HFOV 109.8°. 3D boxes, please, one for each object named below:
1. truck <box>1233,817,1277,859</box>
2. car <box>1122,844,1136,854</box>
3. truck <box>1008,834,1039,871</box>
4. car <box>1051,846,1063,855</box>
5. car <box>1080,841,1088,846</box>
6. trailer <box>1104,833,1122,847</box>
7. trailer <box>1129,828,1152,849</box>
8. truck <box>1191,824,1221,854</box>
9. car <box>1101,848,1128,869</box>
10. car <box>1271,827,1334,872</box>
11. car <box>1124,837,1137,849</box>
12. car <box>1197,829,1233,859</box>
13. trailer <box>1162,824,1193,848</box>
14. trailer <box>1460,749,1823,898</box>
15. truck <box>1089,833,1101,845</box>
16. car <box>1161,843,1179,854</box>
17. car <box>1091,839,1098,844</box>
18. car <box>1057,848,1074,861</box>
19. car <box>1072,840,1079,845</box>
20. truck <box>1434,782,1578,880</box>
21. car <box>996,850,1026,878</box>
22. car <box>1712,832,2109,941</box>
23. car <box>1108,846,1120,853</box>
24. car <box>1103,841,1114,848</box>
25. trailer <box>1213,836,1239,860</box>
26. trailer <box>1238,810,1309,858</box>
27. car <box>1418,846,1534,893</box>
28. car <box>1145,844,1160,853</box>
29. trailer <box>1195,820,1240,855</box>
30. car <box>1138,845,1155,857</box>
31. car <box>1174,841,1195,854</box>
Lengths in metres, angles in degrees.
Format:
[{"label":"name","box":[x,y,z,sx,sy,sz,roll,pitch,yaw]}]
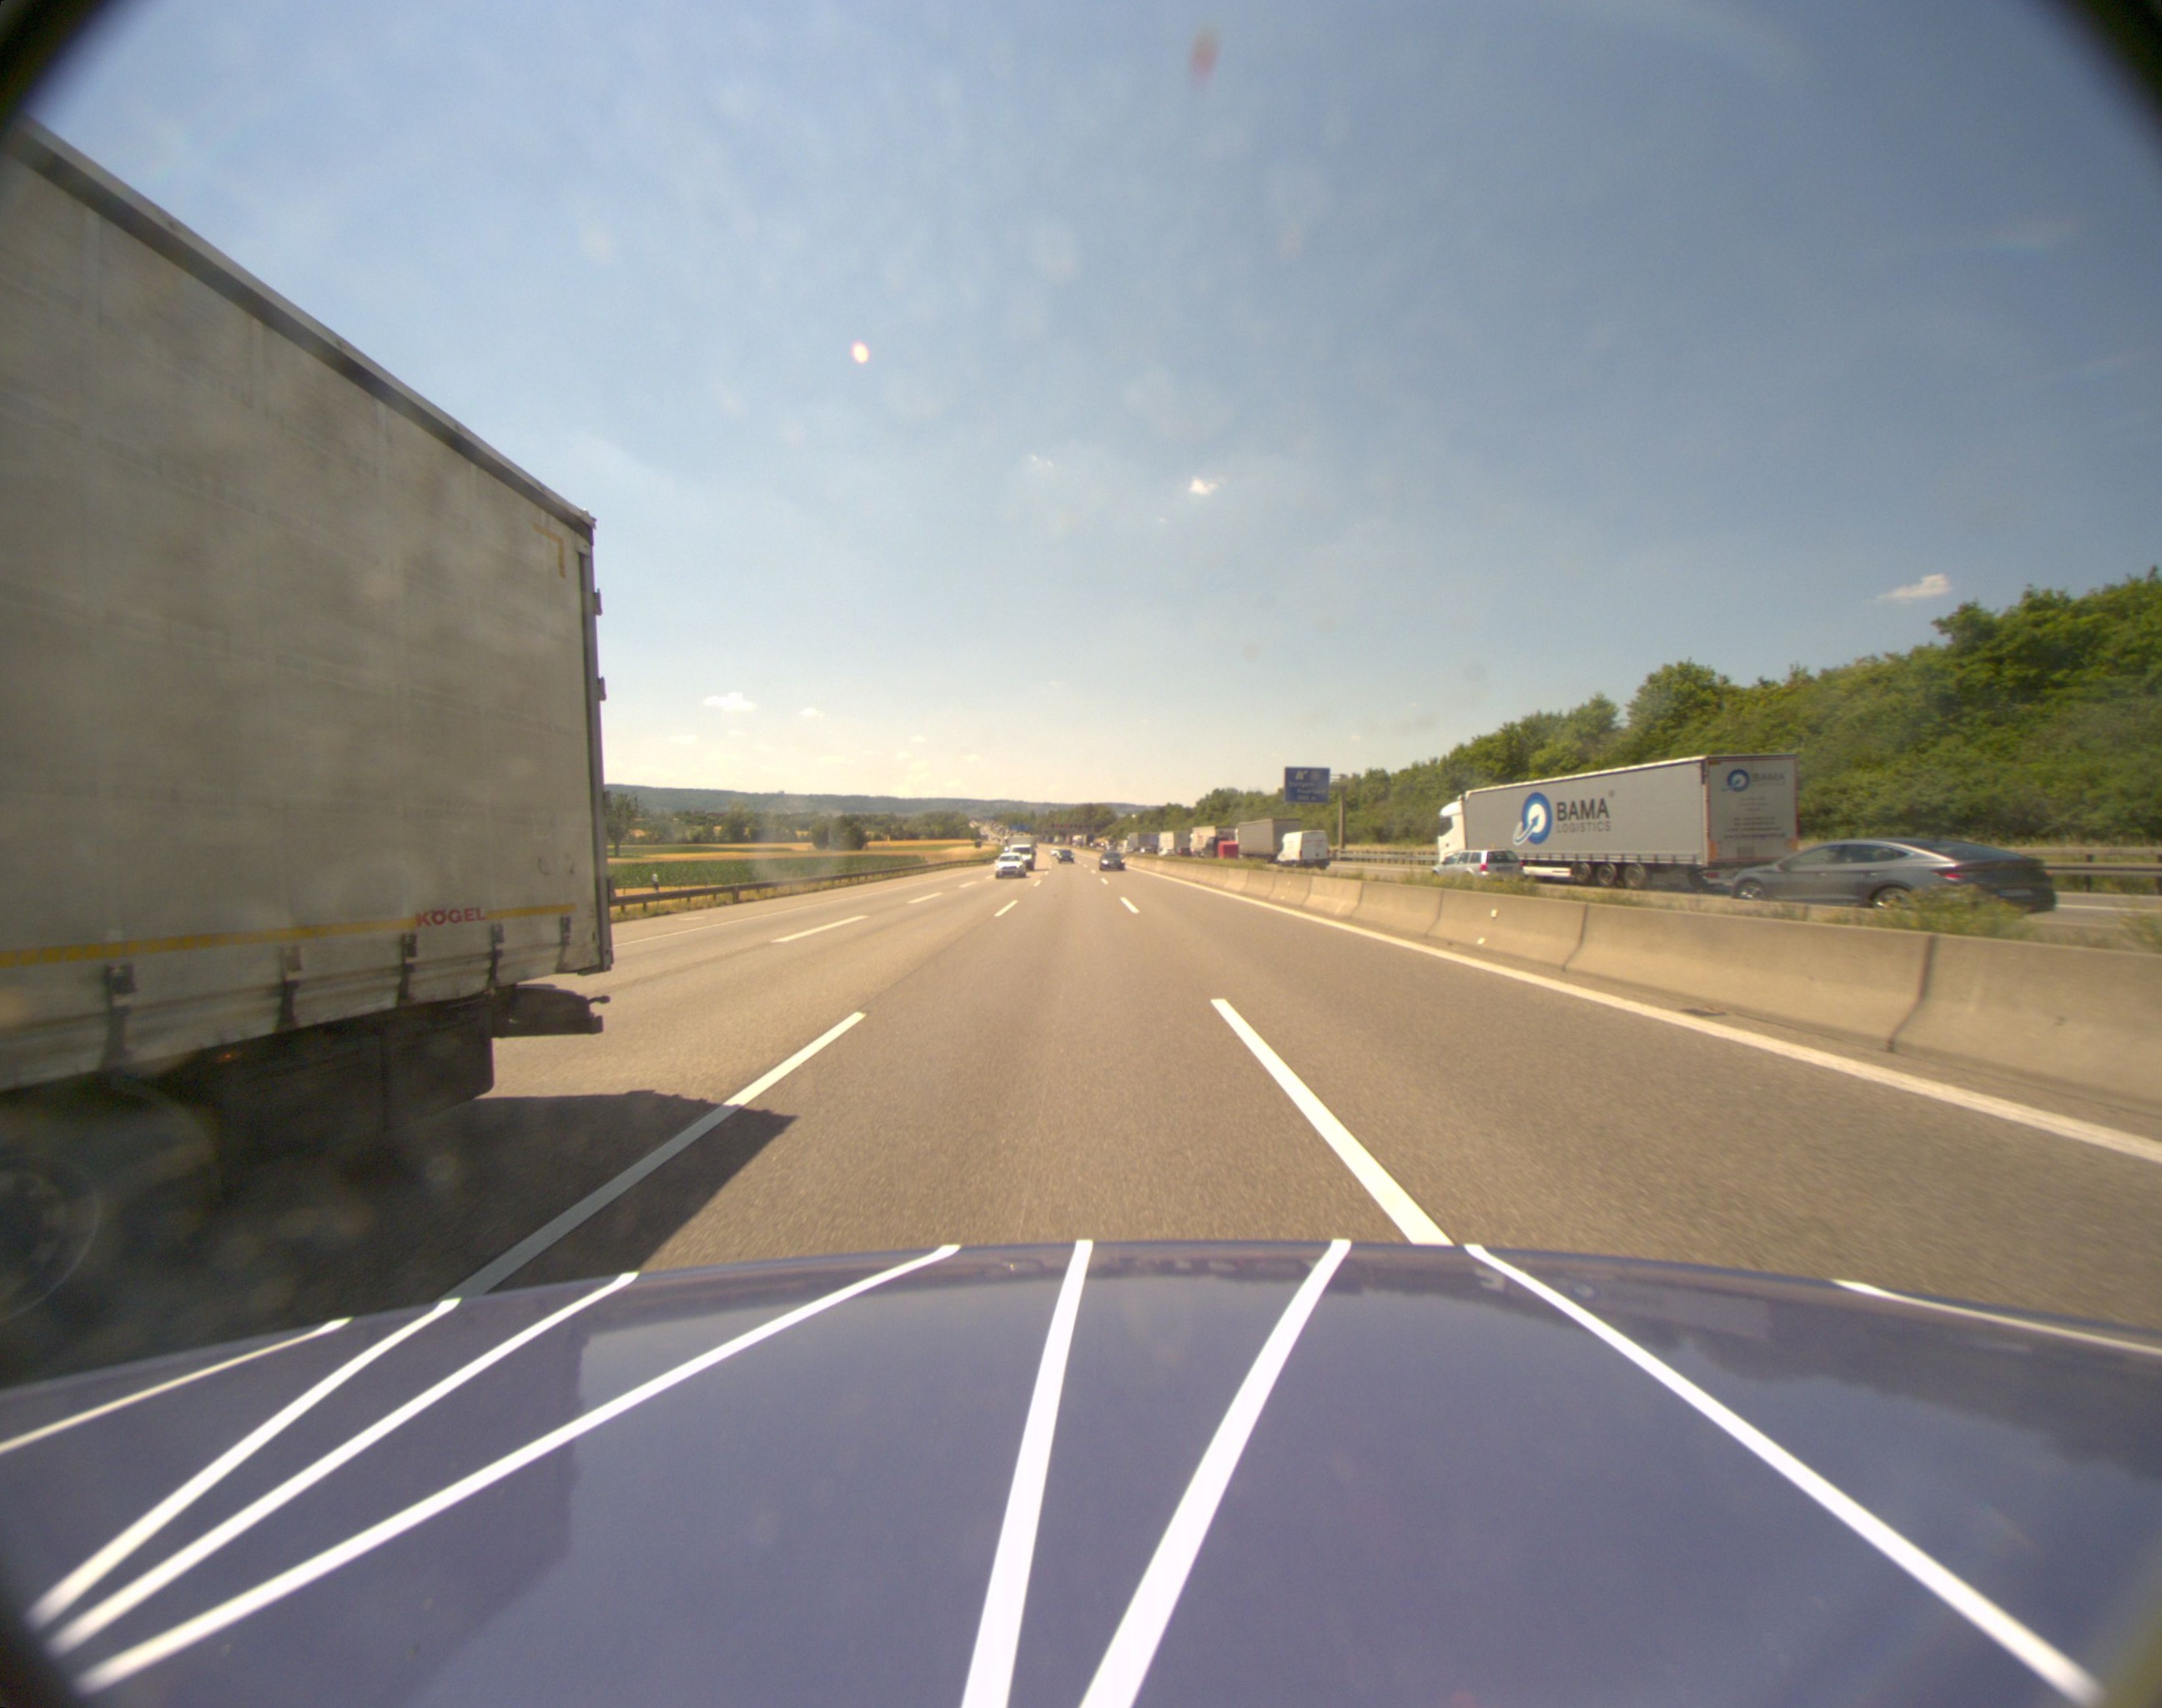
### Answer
[{"label":"truck","box":[18.352,-1.717,80.401,2.969,4.186,6.602,-2,1,0]},{"label":"car","box":[8.298,-0.901,131.990,1.999,1.634,4.404,-1,2,-3]},{"label":"truck","box":[-5.083,-0.243,66.673,2.446,3.011,6.911,-2,2,-5]},{"label":"car","box":[-4.575,-0.645,145.149,1.999,1.467,3.997,-2,2,-5]},{"label":"car","box":[1.018,-3.305,230.859,1.999,1.512,4.304,-1,2,-5]},{"label":"trailer","box":[7.876,-3.619,189.875,2.878,3.166,10.720,-2,2,-5]},{"label":"trailer","box":[13.506,-3.550,173.065,3.231,4.396,13.771,-1,1,-4]},{"label":"truck","box":[17.324,-2.069,105.357,2.762,4.020,6.096,-2,1,-3]},{"label":"car","box":[2.577,0.339,59.246,1.808,1.534,4.749,-1,-1,-2]},{"label":"car","box":[14.811,-0.373,51.261,2.145,2.770,6.622,-2,2,-1]},{"label":"car","box":[10.399,-2.370,161.346,1.903,2.559,7.568,-1,1,-2]},{"label":"car","box":[13.809,-1.003,78.753,2.243,2.996,6.548,-1,1,-4]},{"label":"trailer","box":[16.527,-3.117,131.156,2.911,3.851,13.870,-1,1,-2]},{"label":"trailer","box":[19.086,-0.911,28.205,2.910,4.062,14.443,-1,1,1]},{"label":"truck","box":[4.589,-5.121,255.623,3.018,3.895,10.348,-1,2,-5]},{"label":"car","box":[12.938,-0.817,111.065,1.886,1.466,4.404,-1,2,-2]},{"label":"car","box":[4.110,-3.761,228.426,1.846,1.668,4.440,-1,2,0]},{"label":"car","box":[-1.895,0.064,91.078,1.866,1.426,3.997,-1,2,-4]},{"label":"car","box":[-1.751,-3.793,248.314,1.999,1.437,4.789,-1,2,-5]},{"label":"truck","box":[19.107,-0.983,34.719,2.860,4.013,6.603,-1,1,0]},{"label":"car","box":[-4.537,0.637,49.887,1.837,1.636,4.170,-2,1,-4]},{"label":"car","box":[14.976,0.437,14.336,1.866,1.632,5.111,-1,2,0]},{"label":"car","box":[6.941,-0.961,160.183,1.999,1.570,4.593,-1,1,-3]},{"label":"car","box":[7.060,-2.464,197.562,2.113,1.713,4.927,-1,2,-5]},{"label":"trailer","box":[14.029,-0.581,73.643,1.574,2.240,3.960,-1,1,-4]},{"label":"trailer","box":[18.452,-1.908,74.207,2.990,4.182,14.188,-2,1,-1]},{"label":"car","box":[14.667,0.493,28.541,1.756,1.452,4.856,-2,2,-1]},{"label":"car","box":[12.399,-0.893,131.385,1.881,1.426,4.922,-2,1,-3]},{"label":"trailer","box":[17.659,-2.102,99.424,2.818,4.254,13.863,-2,1,-2]},{"label":"car","box":[9.469,-0.456,110.536,1.937,1.679,4.794,-1,1,-2]},{"label":"car","box":[13.656,-0.906,100.506,1.999,1.706,4.789,-1,1,-2]}]
